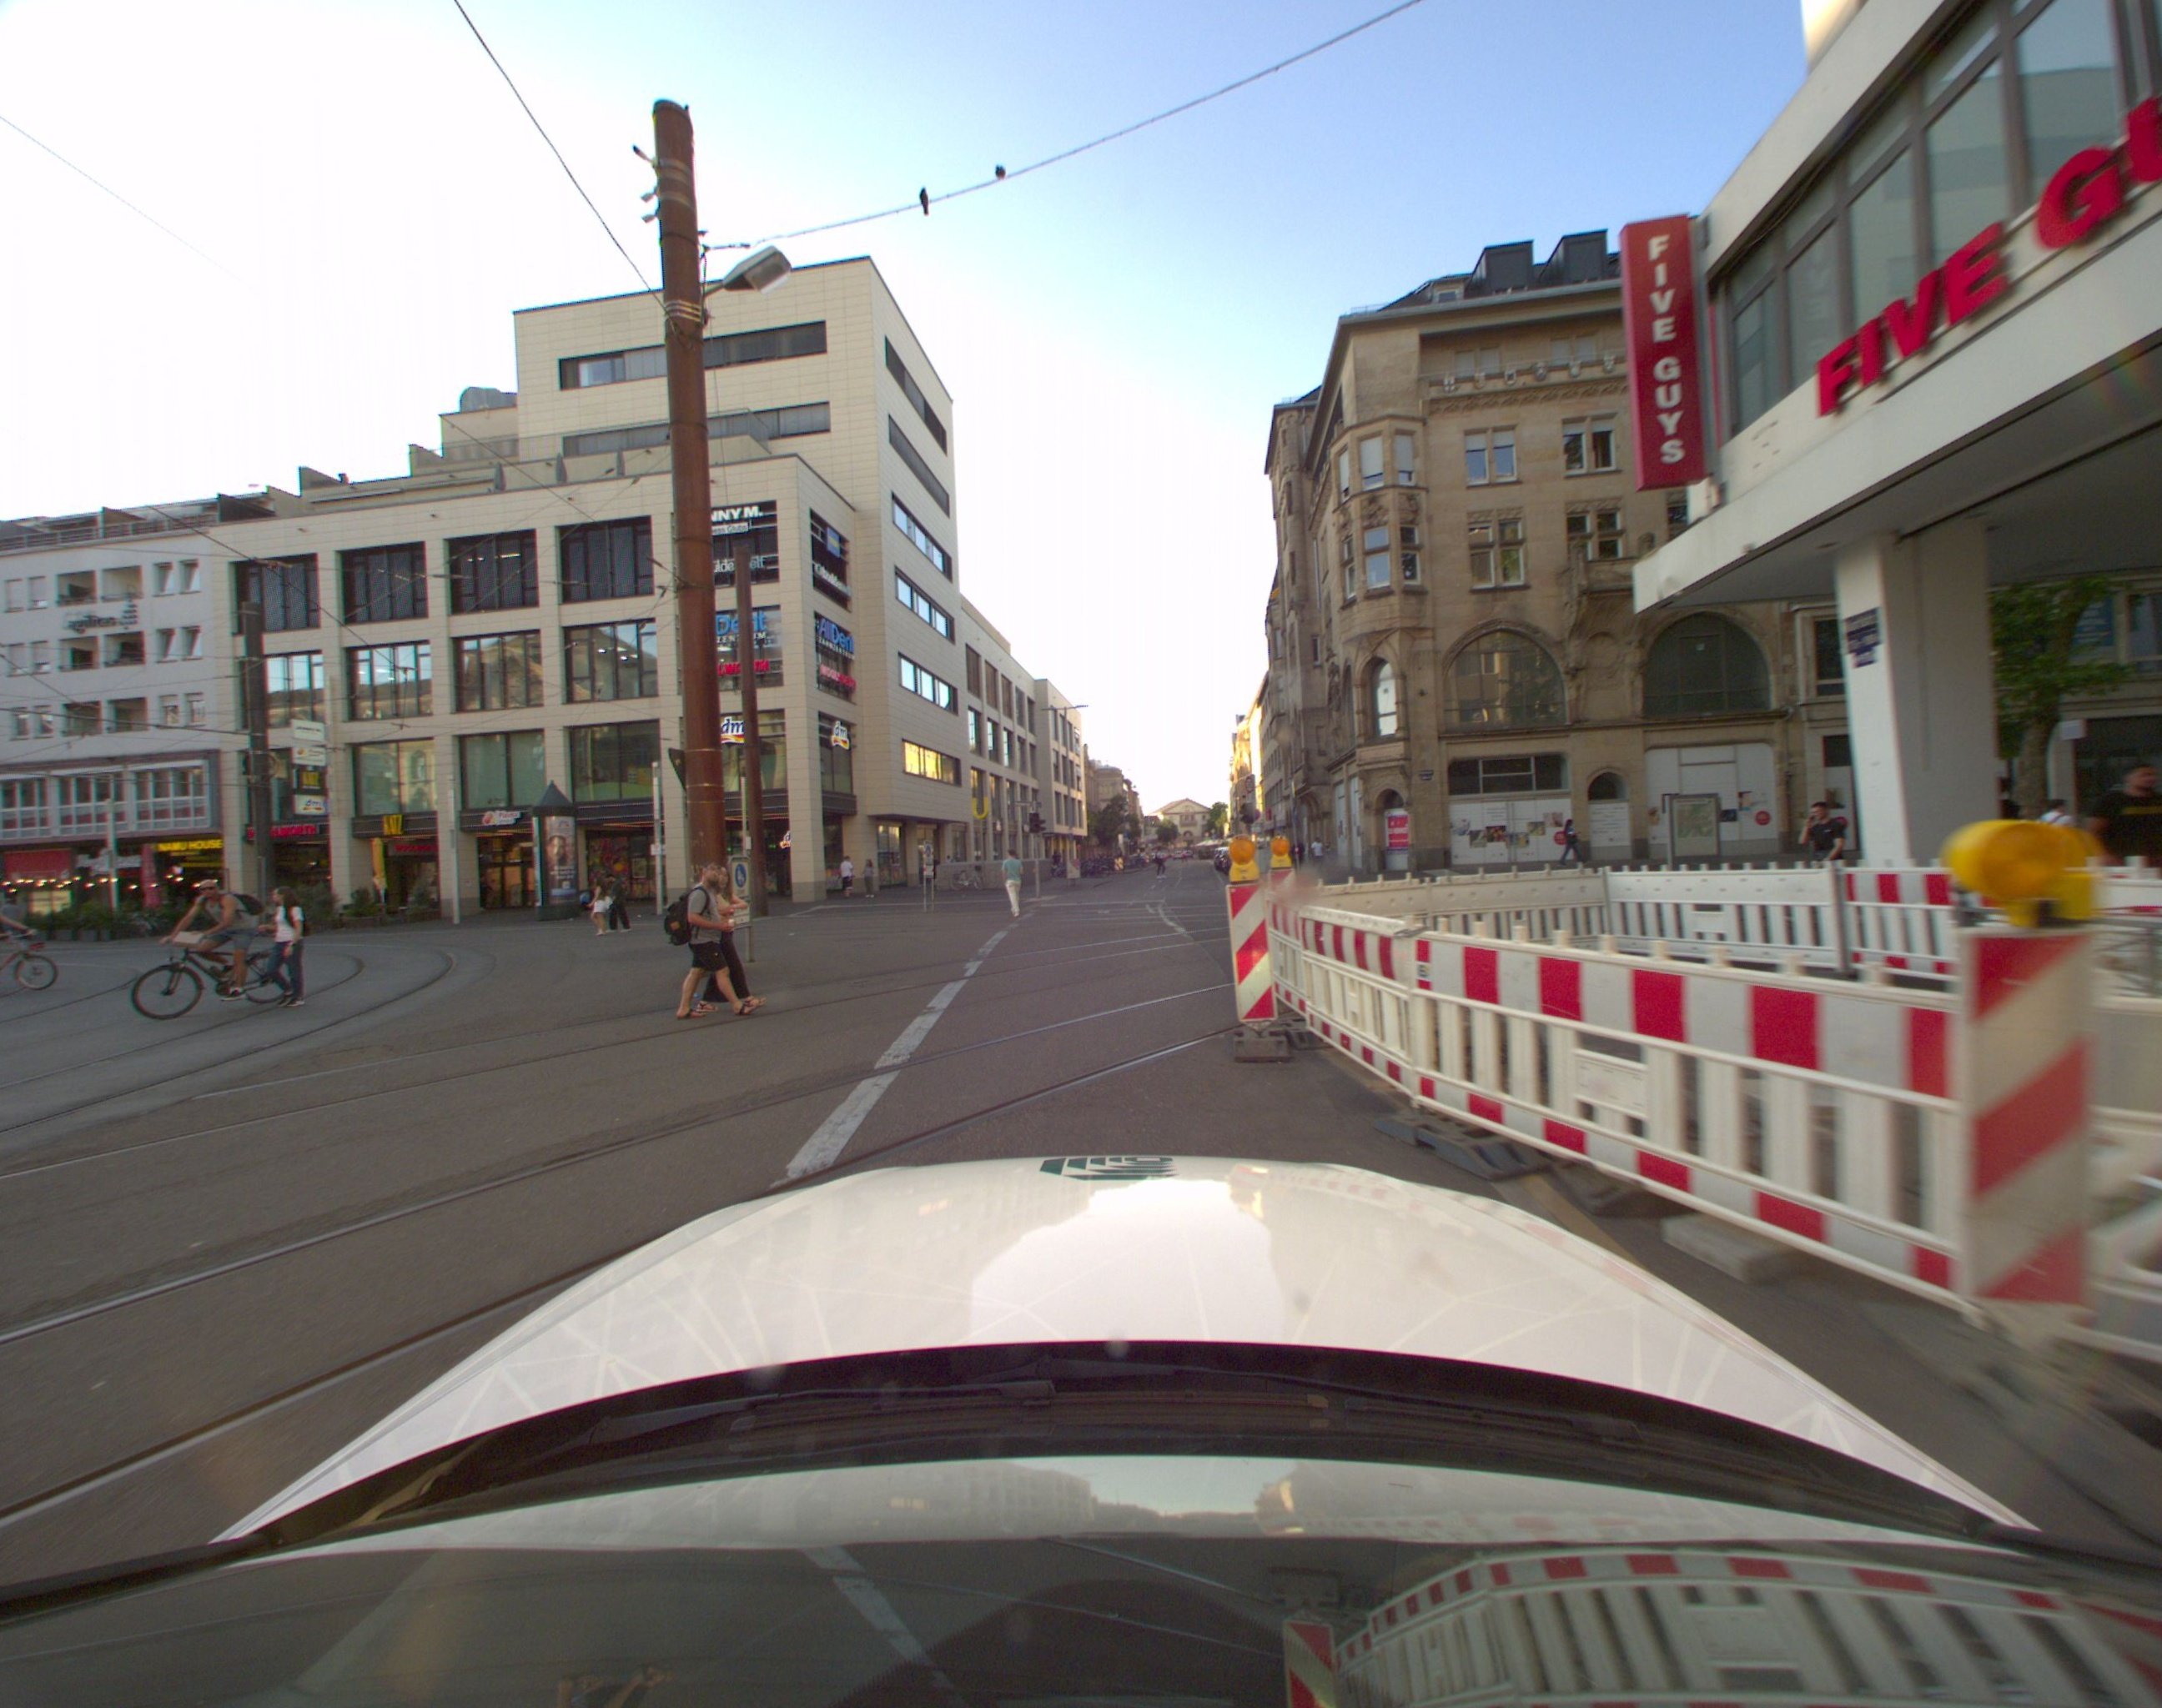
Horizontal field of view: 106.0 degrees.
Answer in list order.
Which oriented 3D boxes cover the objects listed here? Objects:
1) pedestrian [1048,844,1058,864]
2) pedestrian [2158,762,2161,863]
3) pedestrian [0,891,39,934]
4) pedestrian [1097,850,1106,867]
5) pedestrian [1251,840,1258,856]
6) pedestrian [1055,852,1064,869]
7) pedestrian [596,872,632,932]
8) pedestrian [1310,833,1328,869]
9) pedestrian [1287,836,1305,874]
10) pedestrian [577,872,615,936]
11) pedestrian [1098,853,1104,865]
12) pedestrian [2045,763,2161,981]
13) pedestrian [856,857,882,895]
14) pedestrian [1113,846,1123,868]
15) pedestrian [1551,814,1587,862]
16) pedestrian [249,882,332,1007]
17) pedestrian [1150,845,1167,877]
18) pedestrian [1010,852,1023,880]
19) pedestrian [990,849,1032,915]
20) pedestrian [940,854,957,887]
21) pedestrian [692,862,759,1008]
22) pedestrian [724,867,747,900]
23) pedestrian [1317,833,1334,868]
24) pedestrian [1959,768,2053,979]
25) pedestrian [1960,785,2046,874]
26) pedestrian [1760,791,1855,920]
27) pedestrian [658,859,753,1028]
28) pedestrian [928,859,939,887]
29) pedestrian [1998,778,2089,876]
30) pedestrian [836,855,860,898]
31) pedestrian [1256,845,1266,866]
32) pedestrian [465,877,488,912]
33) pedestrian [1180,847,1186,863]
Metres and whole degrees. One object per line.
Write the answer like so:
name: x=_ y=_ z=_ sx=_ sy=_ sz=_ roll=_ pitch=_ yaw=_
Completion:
pedestrian: x=-2.340 y=-0.013 z=68.576 sx=0.676 sy=1.621 sz=0.575 roll=-3 pitch=-1 yaw=7
pedestrian: x=10.163 y=0.160 z=7.197 sx=0.474 sy=2.014 sz=0.699 roll=-1 pitch=-1 yaw=-40
pedestrian: x=-42.256 y=2.326 z=32.212 sx=0.943 sy=1.636 sz=0.904 roll=-3 pitch=-1 yaw=11
pedestrian: x=1.899 y=0.399 z=75.745 sx=0.747 sy=1.529 sz=0.486 roll=-3 pitch=-1 yaw=7
pedestrian: x=19.702 y=-0.642 z=92.371 sx=0.640 sy=1.746 sz=0.672 roll=-3 pitch=-1 yaw=6
pedestrian: x=-2.132 y=0.679 z=81.279 sx=0.727 sy=1.621 sz=0.663 roll=-3 pitch=-1 yaw=7
pedestrian: x=-13.409 y=1.366 z=23.410 sx=0.525 sy=1.674 sz=0.652 roll=-3 pitch=0 yaw=9
pedestrian: x=11.334 y=-0.153 z=38.853 sx=0.622 sy=1.690 sz=0.672 roll=-3 pitch=-1 yaw=6
pedestrian: x=9.713 y=0.055 z=36.786 sx=0.622 sy=1.690 sz=0.672 roll=-3 pitch=-1 yaw=6
pedestrian: x=-13.259 y=1.359 z=22.278 sx=0.525 sy=1.674 sz=0.652 roll=-3 pitch=0 yaw=9
pedestrian: x=2.556 y=0.636 z=105.042 sx=0.676 sy=1.621 sz=0.575 roll=-3 pitch=-1 yaw=7
pedestrian: x=10.001 y=0.167 z=7.904 sx=0.520 sy=2.014 sz=0.772 roll=-1 pitch=-1 yaw=-40
pedestrian: x=-9.502 y=0.996 z=36.558 sx=0.759 sy=1.659 sz=0.821 roll=-2 pitch=-1 yaw=22
pedestrian: x=3.093 y=0.275 z=67.822 sx=0.655 sy=1.823 sz=0.528 roll=-3 pitch=-1 yaw=-2
pedestrian: x=17.032 y=-0.553 z=28.427 sx=0.815 sy=1.611 sz=0.715 roll=-2 pitch=-1 yaw=7
pedestrian: x=-11.087 y=1.252 z=11.432 sx=0.643 sy=1.674 sz=0.532 roll=-3 pitch=0 yaw=16
pedestrian: x=4.381 y=0.391 z=46.293 sx=0.831 sy=1.720 sz=0.682 roll=-3 pitch=-1 yaw=0
pedestrian: x=-3.948 y=0.721 z=50.134 sx=0.677 sy=1.681 sz=0.601 roll=-2 pitch=-1 yaw=5
pedestrian: x=-1.904 y=0.744 z=22.259 sx=0.858 sy=1.761 sz=0.771 roll=-2 pitch=-1 yaw=20
pedestrian: x=-7.356 y=0.912 z=45.137 sx=0.778 sy=1.751 sz=0.601 roll=-2 pitch=-1 yaw=5
pedestrian: x=-4.055 y=0.902 z=9.312 sx=0.570 sy=1.593 sz=0.446 roll=-3 pitch=-1 yaw=-14
pedestrian: x=-16.293 y=1.371 z=38.438 sx=0.568 sy=1.526 sz=0.794 roll=-2 pitch=-1 yaw=20
pedestrian: x=11.848 y=-0.170 z=39.461 sx=0.622 sy=1.690 sz=0.627 roll=-3 pitch=-1 yaw=6
pedestrian: x=9.307 y=0.187 z=8.217 sx=0.465 sy=2.014 sz=0.712 roll=-2 pitch=-1 yaw=39
pedestrian: x=17.763 y=-0.455 z=15.707 sx=0.772 sy=1.661 sz=0.728 roll=-2 pitch=-1 yaw=7
pedestrian: x=10.321 y=0.018 z=11.587 sx=0.720 sy=1.769 sz=0.669 roll=-1 pitch=-1 yaw=-6
pedestrian: x=-4.005 y=0.921 z=8.731 sx=0.745 sy=1.700 sz=0.607 roll=-3 pitch=-1 yaw=-14
pedestrian: x=-8.079 y=1.030 z=44.676 sx=0.388 sy=1.515 sz=0.507 roll=-3 pitch=-1 yaw=7
pedestrian: x=17.689 y=-0.482 z=14.985 sx=0.772 sy=1.735 sz=0.715 roll=-2 pitch=-1 yaw=7
pedestrian: x=-10.102 y=0.961 z=35.322 sx=0.568 sy=1.855 sz=0.820 roll=-2 pitch=-1 yaw=20
pedestrian: x=14.871 y=0.156 z=67.391 sx=0.640 sy=1.690 sz=0.672 roll=-3 pitch=-1 yaw=6
pedestrian: x=-29.900 y=1.998 z=40.284 sx=0.670 sy=1.680 sz=0.576 roll=-2 pitch=-1 yaw=9
pedestrian: x=12.302 y=0.113 z=98.305 sx=0.596 sy=1.823 sz=0.452 roll=-3 pitch=-1 yaw=2
